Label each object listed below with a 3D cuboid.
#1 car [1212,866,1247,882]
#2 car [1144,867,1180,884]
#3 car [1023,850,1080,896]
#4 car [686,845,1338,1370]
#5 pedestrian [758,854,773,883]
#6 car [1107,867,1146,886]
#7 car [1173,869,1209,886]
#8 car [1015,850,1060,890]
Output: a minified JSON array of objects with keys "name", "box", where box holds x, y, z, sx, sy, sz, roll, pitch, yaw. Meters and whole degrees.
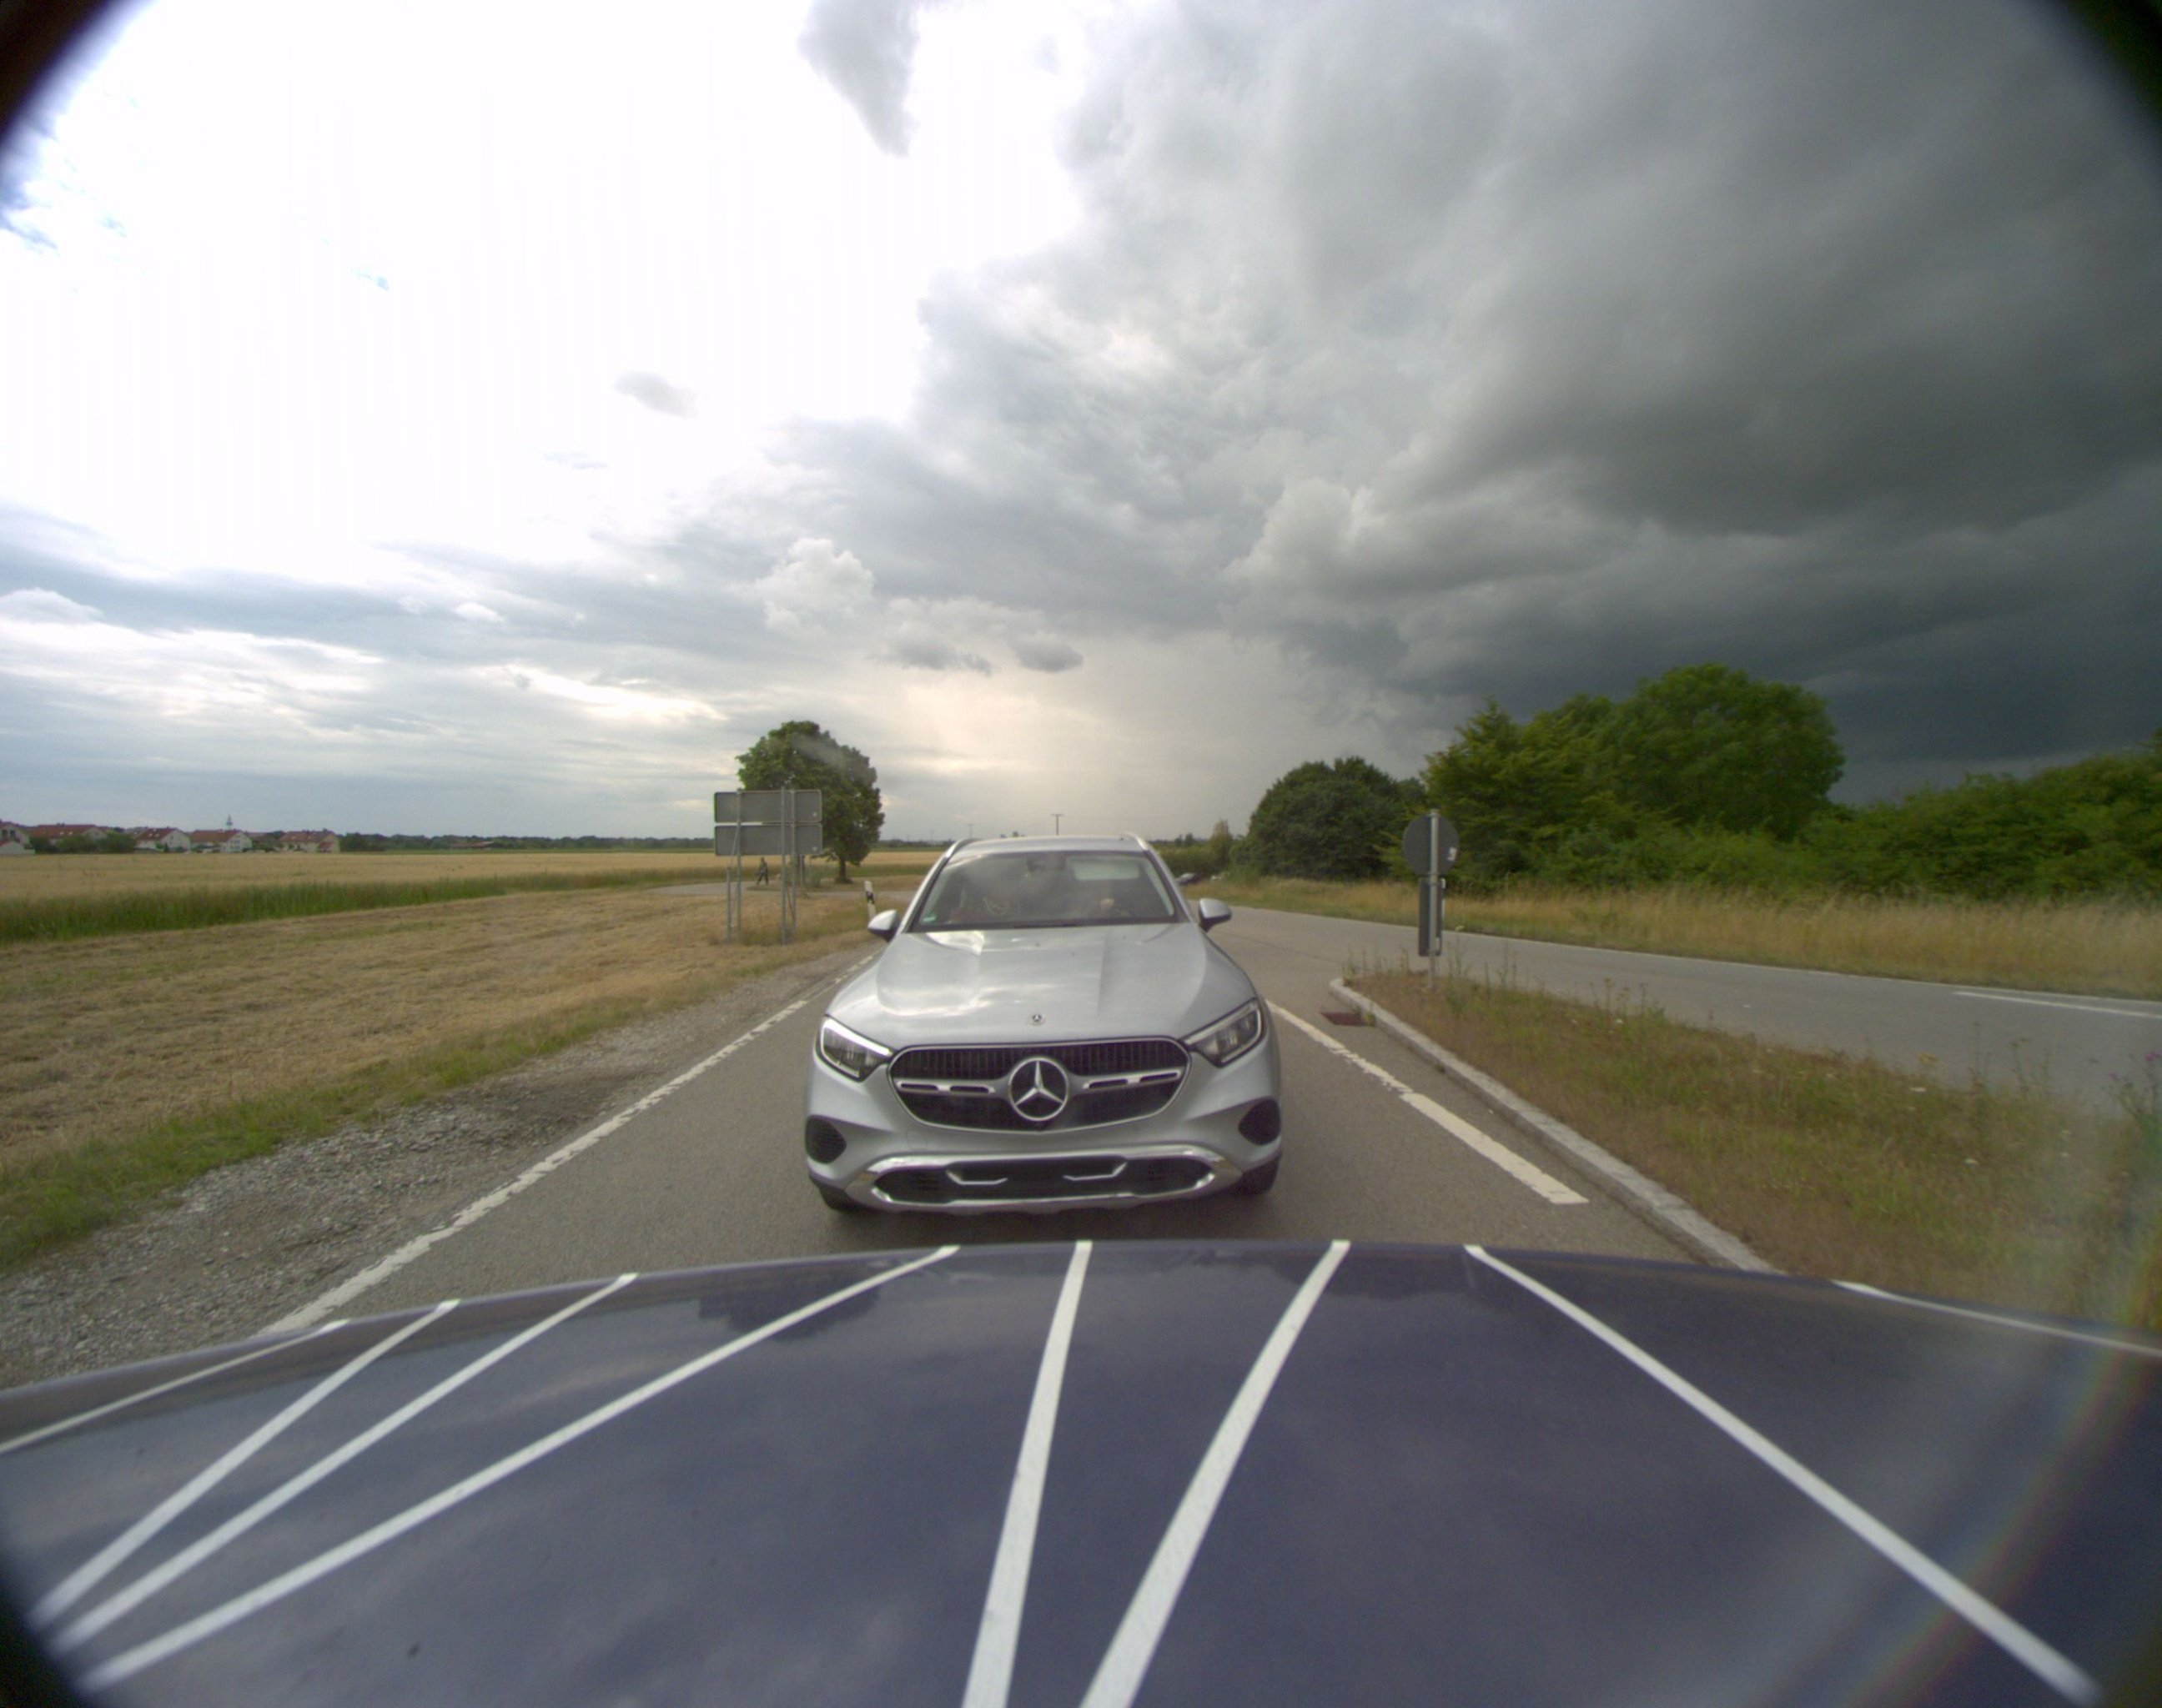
[{"name":"car","box":[16.227,2.176,82.934,4.008,1.524,1.817,-1,1,-44]},{"name":"car","box":[7.901,2.084,73.671,1.817,1.524,4.008,1,1,34]},{"name":"car","box":[-1.042,0.588,26.086,1.721,1.345,4.212,-2,1,-3]},{"name":"car","box":[-0.218,0.780,4.603,1.996,1.577,4.393,-2,1,0]},{"name":"pedestrian","box":[-18.042,0.830,43.446,0.774,1.602,0.943,0,1,-21]},{"name":"car","box":[4.097,2.008,67.653,1.817,1.524,4.008,1,1,30]},{"name":"car","box":[11.289,2.408,77.967,1.817,1.524,4.008,1,1,40]},{"name":"car","box":[-1.825,0.619,32.193,1.721,1.486,4.636,-2,1,-3]}]
